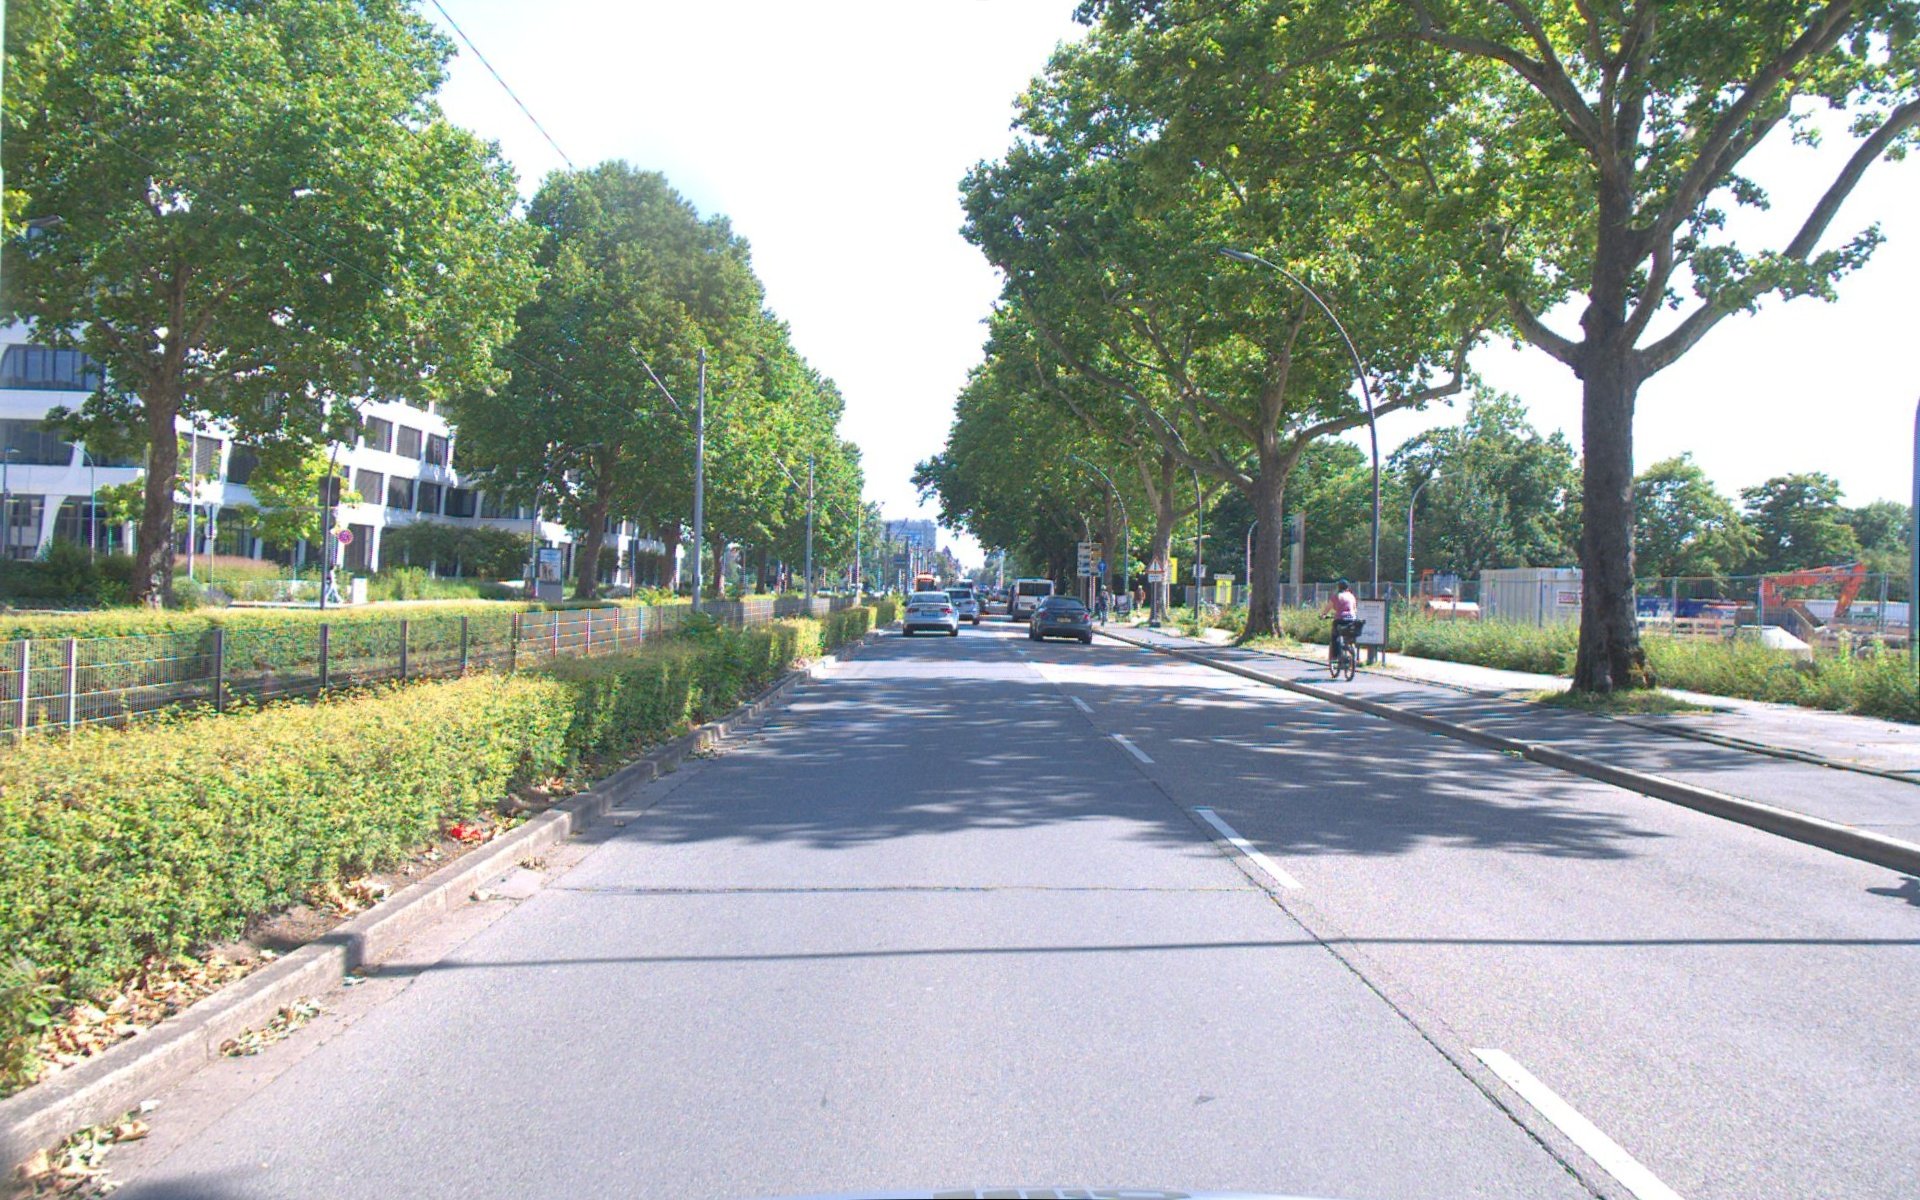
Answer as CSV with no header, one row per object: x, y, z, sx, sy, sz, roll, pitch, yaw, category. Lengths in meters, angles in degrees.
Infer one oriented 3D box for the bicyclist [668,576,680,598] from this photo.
-20.289,-0.934,117.315,0.641,1.561,0.641,2,0,1,bicyclist

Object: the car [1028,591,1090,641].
3.086,0.483,52.192,1.745,1.445,4.001,2,0,1,car

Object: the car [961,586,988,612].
0.976,-0.048,109.285,1.694,1.633,3.885,2,0,1,car

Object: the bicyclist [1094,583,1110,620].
6.511,0.058,75.930,0.621,1.676,0.979,-1,1,0,bicyclist

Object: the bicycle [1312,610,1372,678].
6.807,0.764,29.524,0.638,1.149,1.945,0,0,0,bicycle

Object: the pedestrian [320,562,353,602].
-25.576,-0.729,67.874,0.705,1.616,1.014,2,0,23,pedestrian

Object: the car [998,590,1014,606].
6.035,-0.301,217.290,2.029,2.034,4.059,2,0,1,car

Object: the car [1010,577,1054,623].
3.767,-0.005,87.034,2.184,2.250,4.162,2,0,1,car

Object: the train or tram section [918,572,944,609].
-3.386,-1.099,193.870,2.562,4.085,7.750,2,0,2,train or tram section

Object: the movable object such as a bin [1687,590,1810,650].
42.930,1.047,90.174,5.069,3.027,3.294,2,0,1,movable object such as a bin

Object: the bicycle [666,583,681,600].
-20.306,-0.592,117.274,0.650,1.144,2.031,2,0,1,bicycle

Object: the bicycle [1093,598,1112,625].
6.540,0.517,75.948,0.700,1.168,2.179,-1,2,0,bicycle

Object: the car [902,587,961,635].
-0.903,0.352,54.051,1.748,1.445,3.885,2,0,1,car

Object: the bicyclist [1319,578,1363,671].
6.793,0.426,29.498,0.607,1.628,0.732,0,0,-1,bicyclist

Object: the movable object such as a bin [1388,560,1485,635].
21.058,-0.121,73.407,2.321,3.125,5.983,2,0,-2,movable object such as a bin

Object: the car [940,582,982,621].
0.062,0.058,73.092,1.694,1.633,3.885,2,0,1,car

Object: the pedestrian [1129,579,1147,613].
10.387,-0.232,96.704,0.919,1.925,1.151,2,0,1,pedestrian
